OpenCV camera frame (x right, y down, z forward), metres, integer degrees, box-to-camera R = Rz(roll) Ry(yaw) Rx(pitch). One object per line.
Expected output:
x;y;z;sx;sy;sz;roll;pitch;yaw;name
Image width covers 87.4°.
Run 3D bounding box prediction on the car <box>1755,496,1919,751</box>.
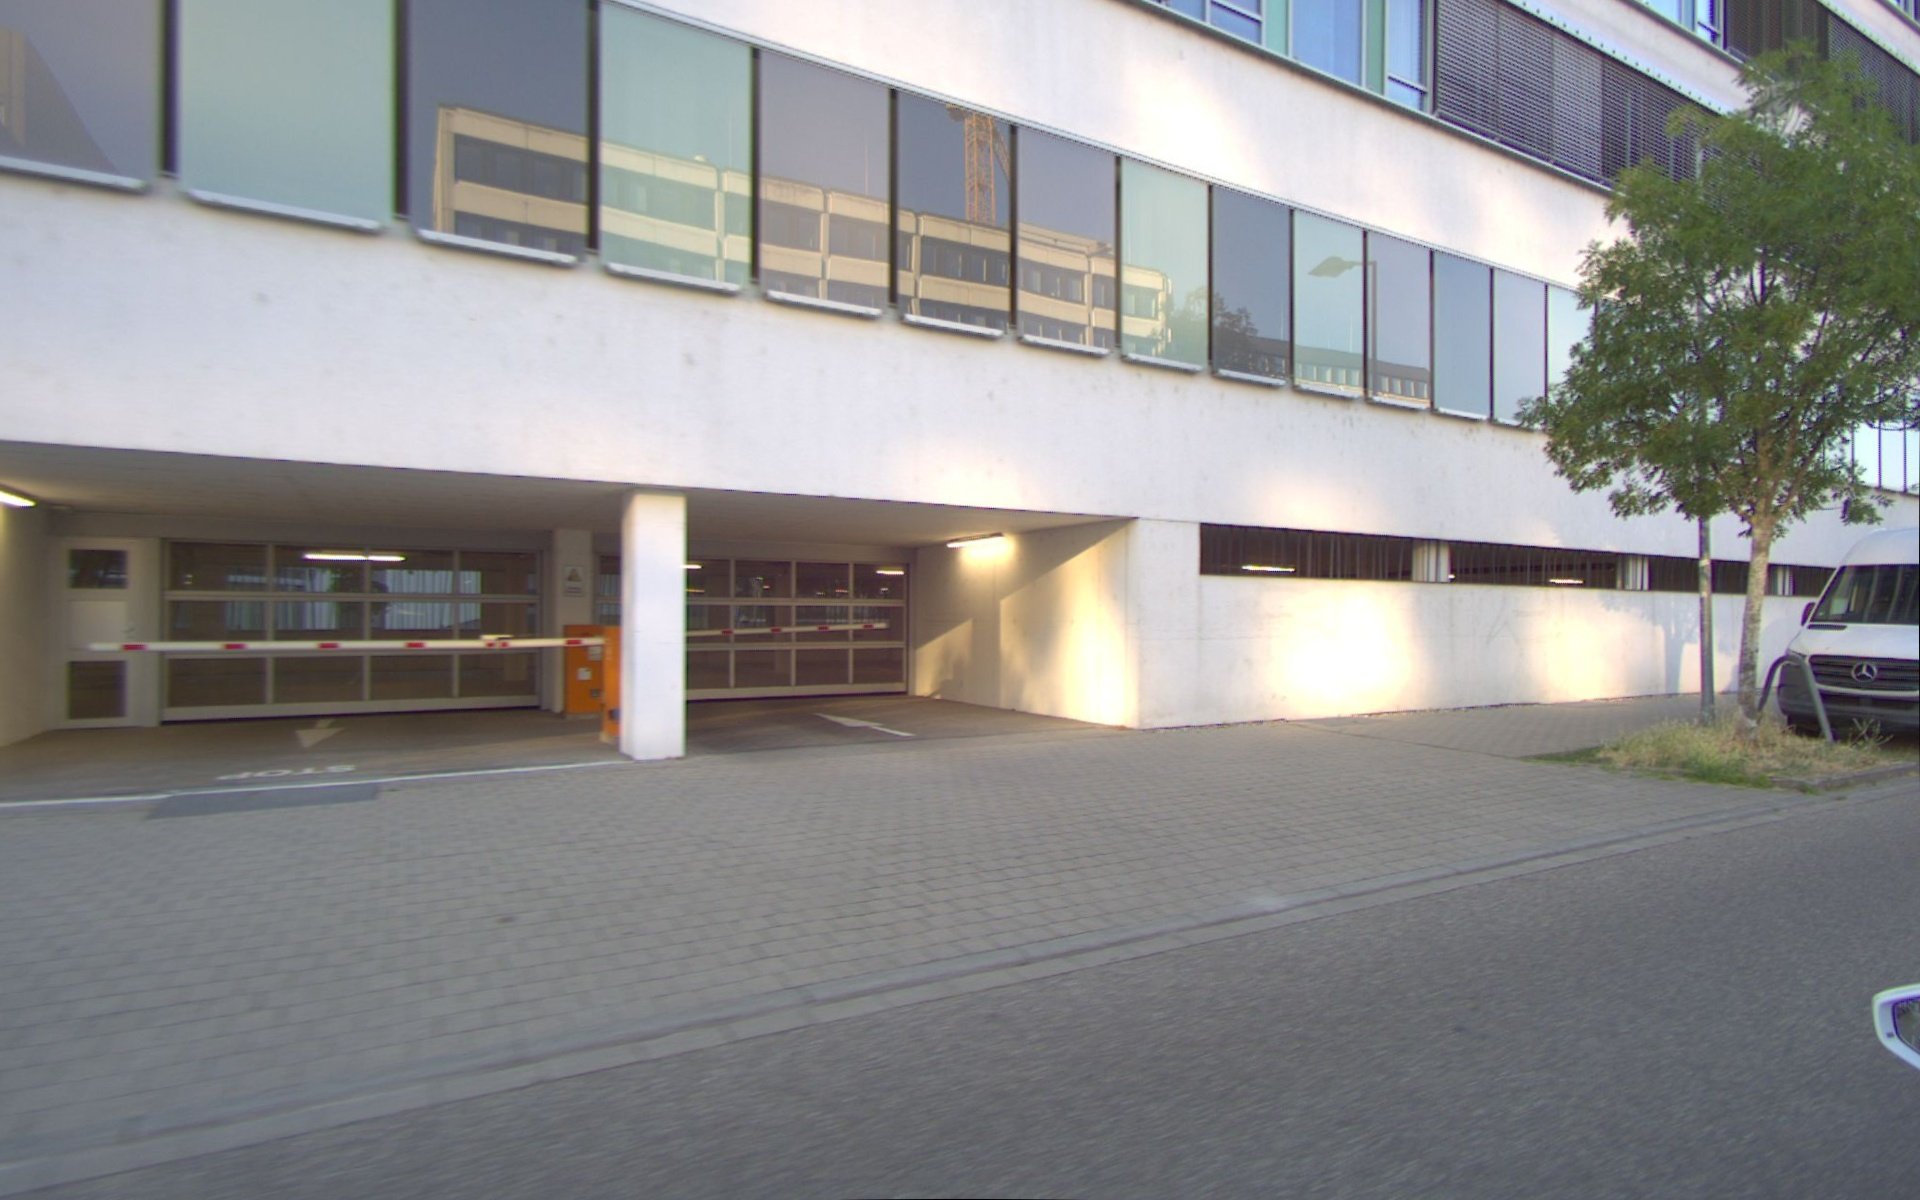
12.711;0.239;12.529;6.809;2.652;1.949;0;2;-30;car
